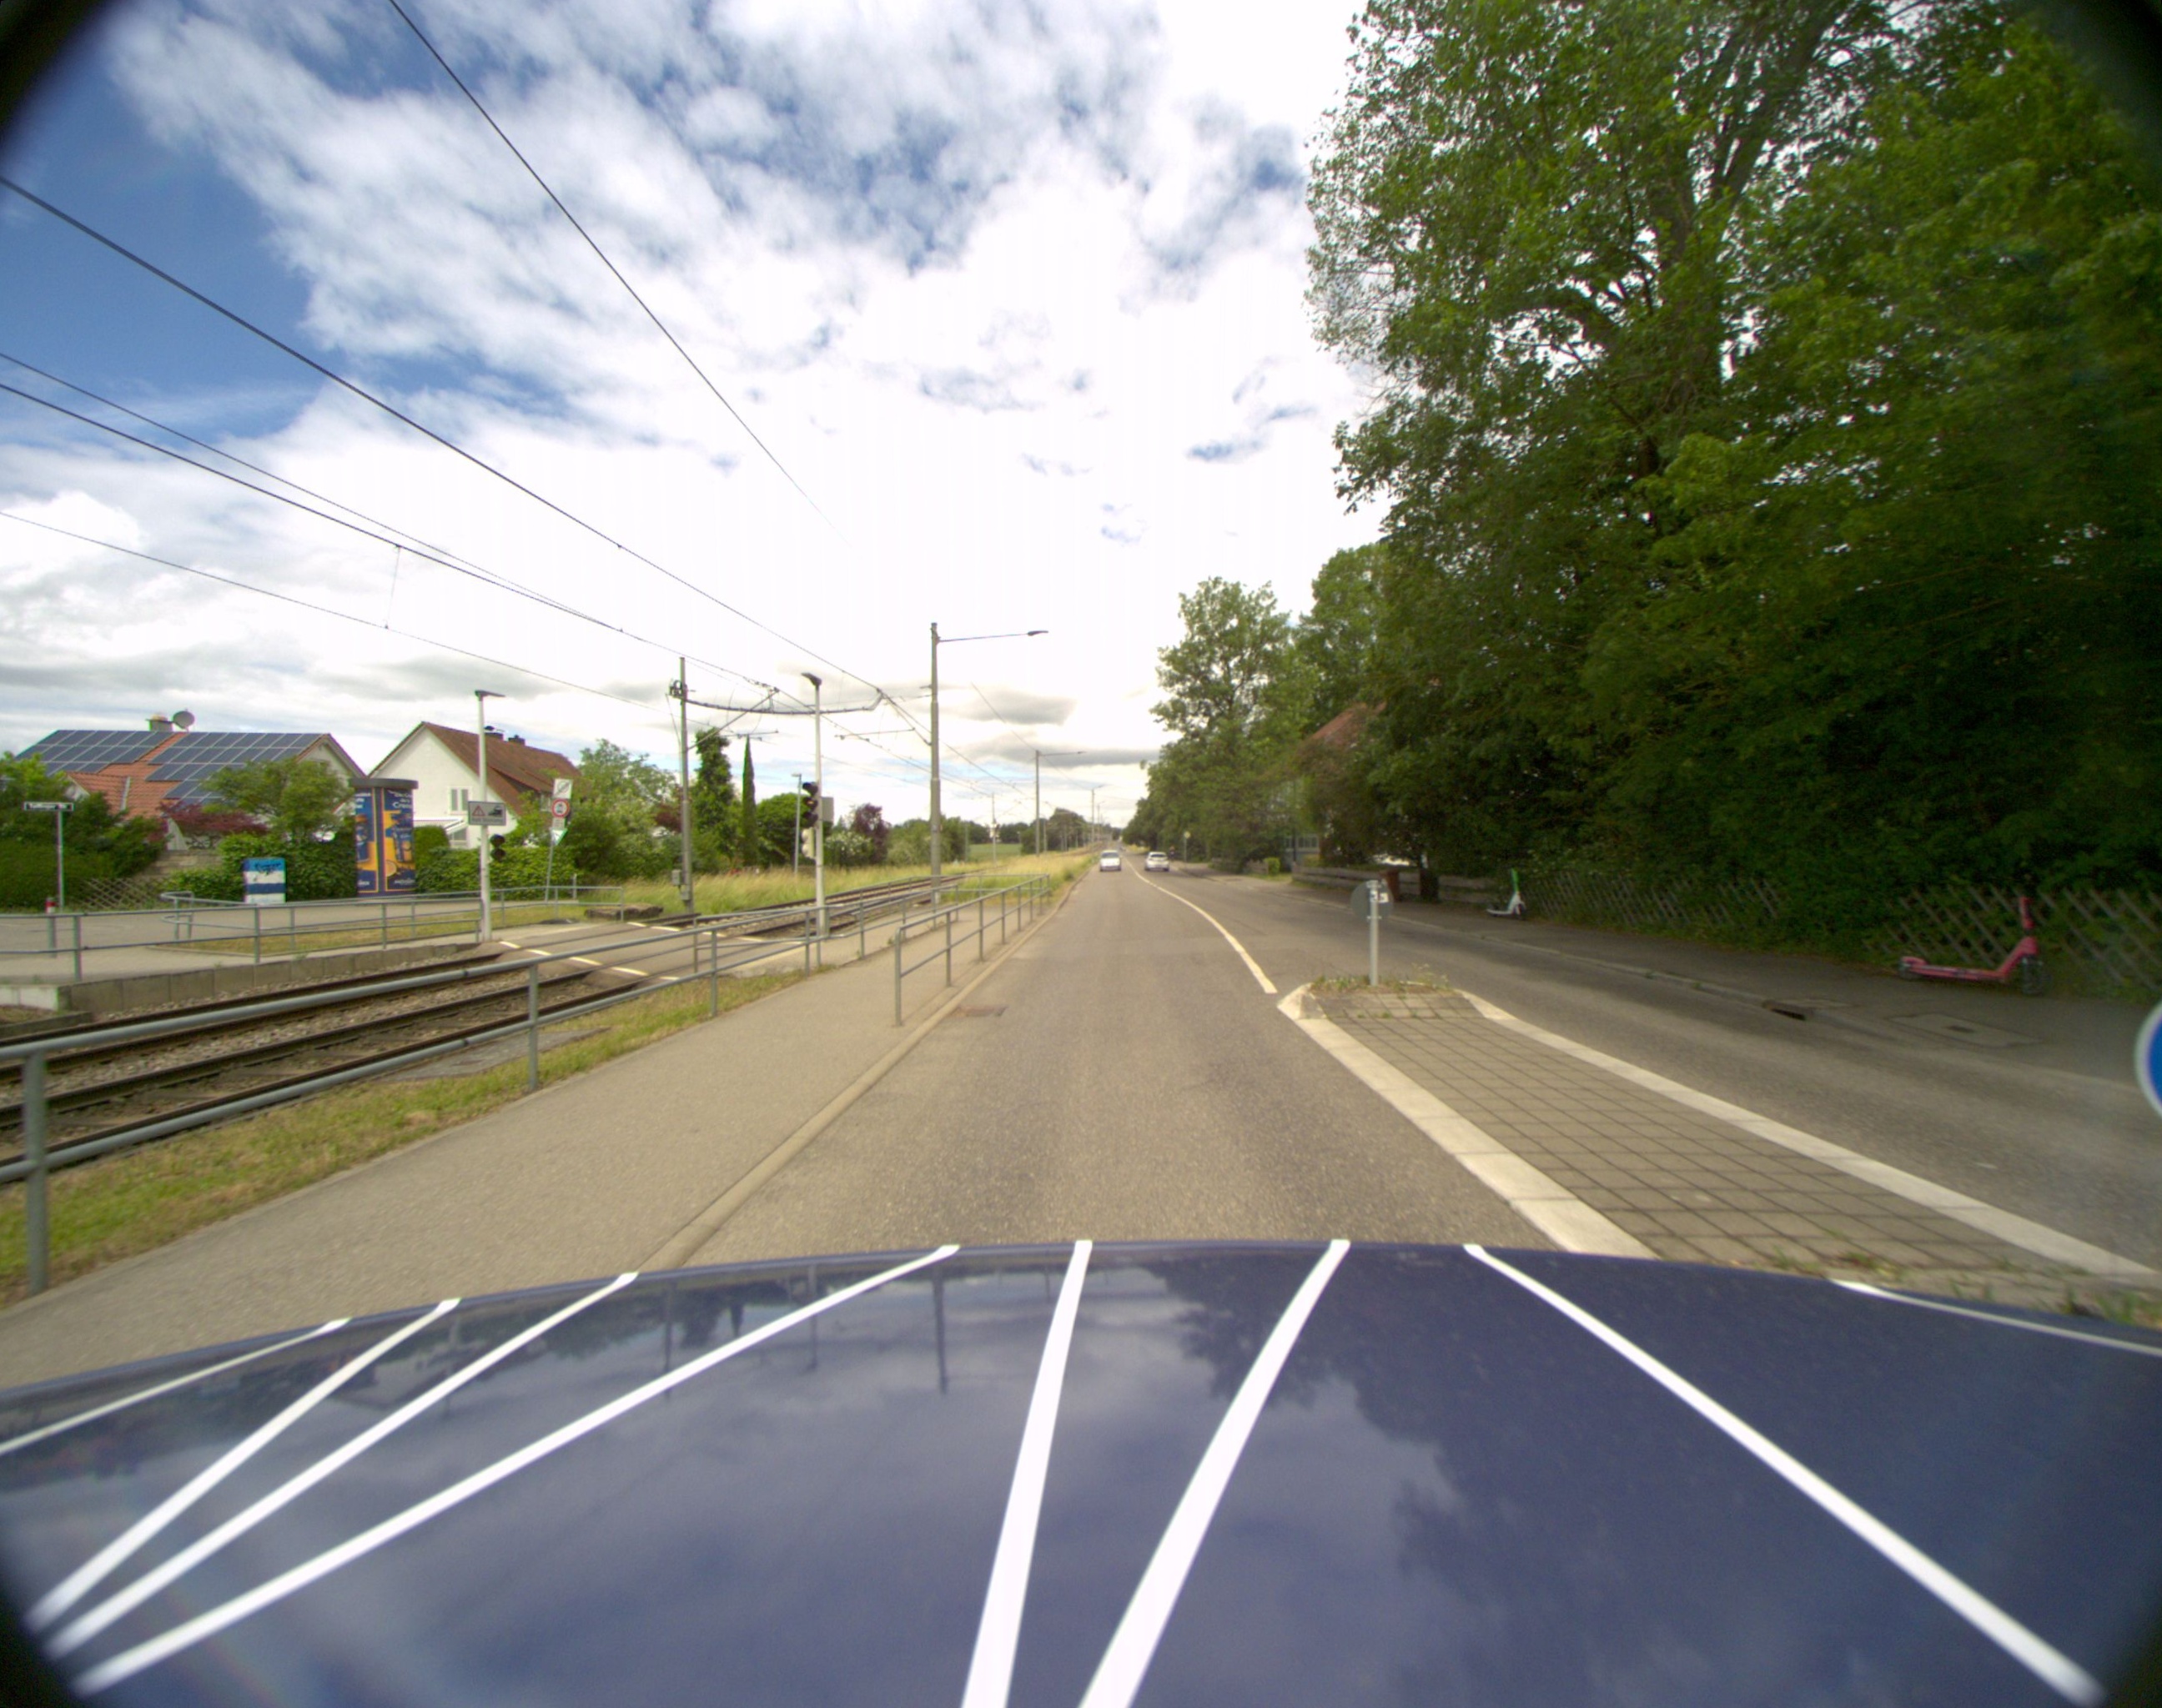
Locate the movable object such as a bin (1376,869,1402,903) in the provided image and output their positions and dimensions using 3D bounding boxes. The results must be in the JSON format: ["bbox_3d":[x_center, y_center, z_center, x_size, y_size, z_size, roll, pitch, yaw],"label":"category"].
[{"bbox_3d":[8.691,0.898,21.447,0.515,0.939,0.568,-2,1,2],"label":"movable object such as a bin"}]

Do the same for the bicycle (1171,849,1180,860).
[{"bbox_3d":[10.717,0.047,86.325,0.757,1.219,2.308,1,1,3],"label":"bicycle"}]

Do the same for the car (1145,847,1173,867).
[{"bbox_3d":[5.986,0.195,58.918,1.698,1.422,3.786,1,1,-1],"label":"car"}]

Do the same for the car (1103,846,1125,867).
[{"bbox_3d":[2.630,0.193,60.544,1.642,1.510,3.869,-2,1,3],"label":"car"}]

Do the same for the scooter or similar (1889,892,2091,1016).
[{"bbox_3d":[9.108,0.957,7.667,0.479,1.075,1.212,-2,1,-16],"label":"scooter or similar"}]

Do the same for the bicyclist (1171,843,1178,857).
[{"bbox_3d":[10.619,-0.466,86.499,0.780,1.540,0.870,0,1,2],"label":"bicyclist"}]

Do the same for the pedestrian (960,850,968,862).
[{"bbox_3d":[-13.903,0.234,90.365,0.598,1.422,0.667,-2,2,42],"label":"pedestrian"}]

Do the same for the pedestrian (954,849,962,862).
[{"bbox_3d":[-14.599,0.172,90.439,0.617,1.613,0.585,-2,2,38],"label":"pedestrian"}]

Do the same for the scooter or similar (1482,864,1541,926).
[{"bbox_3d":[8.984,0.821,15.919,0.409,1.192,1.639,-1,1,4],"label":"scooter or similar"}]
